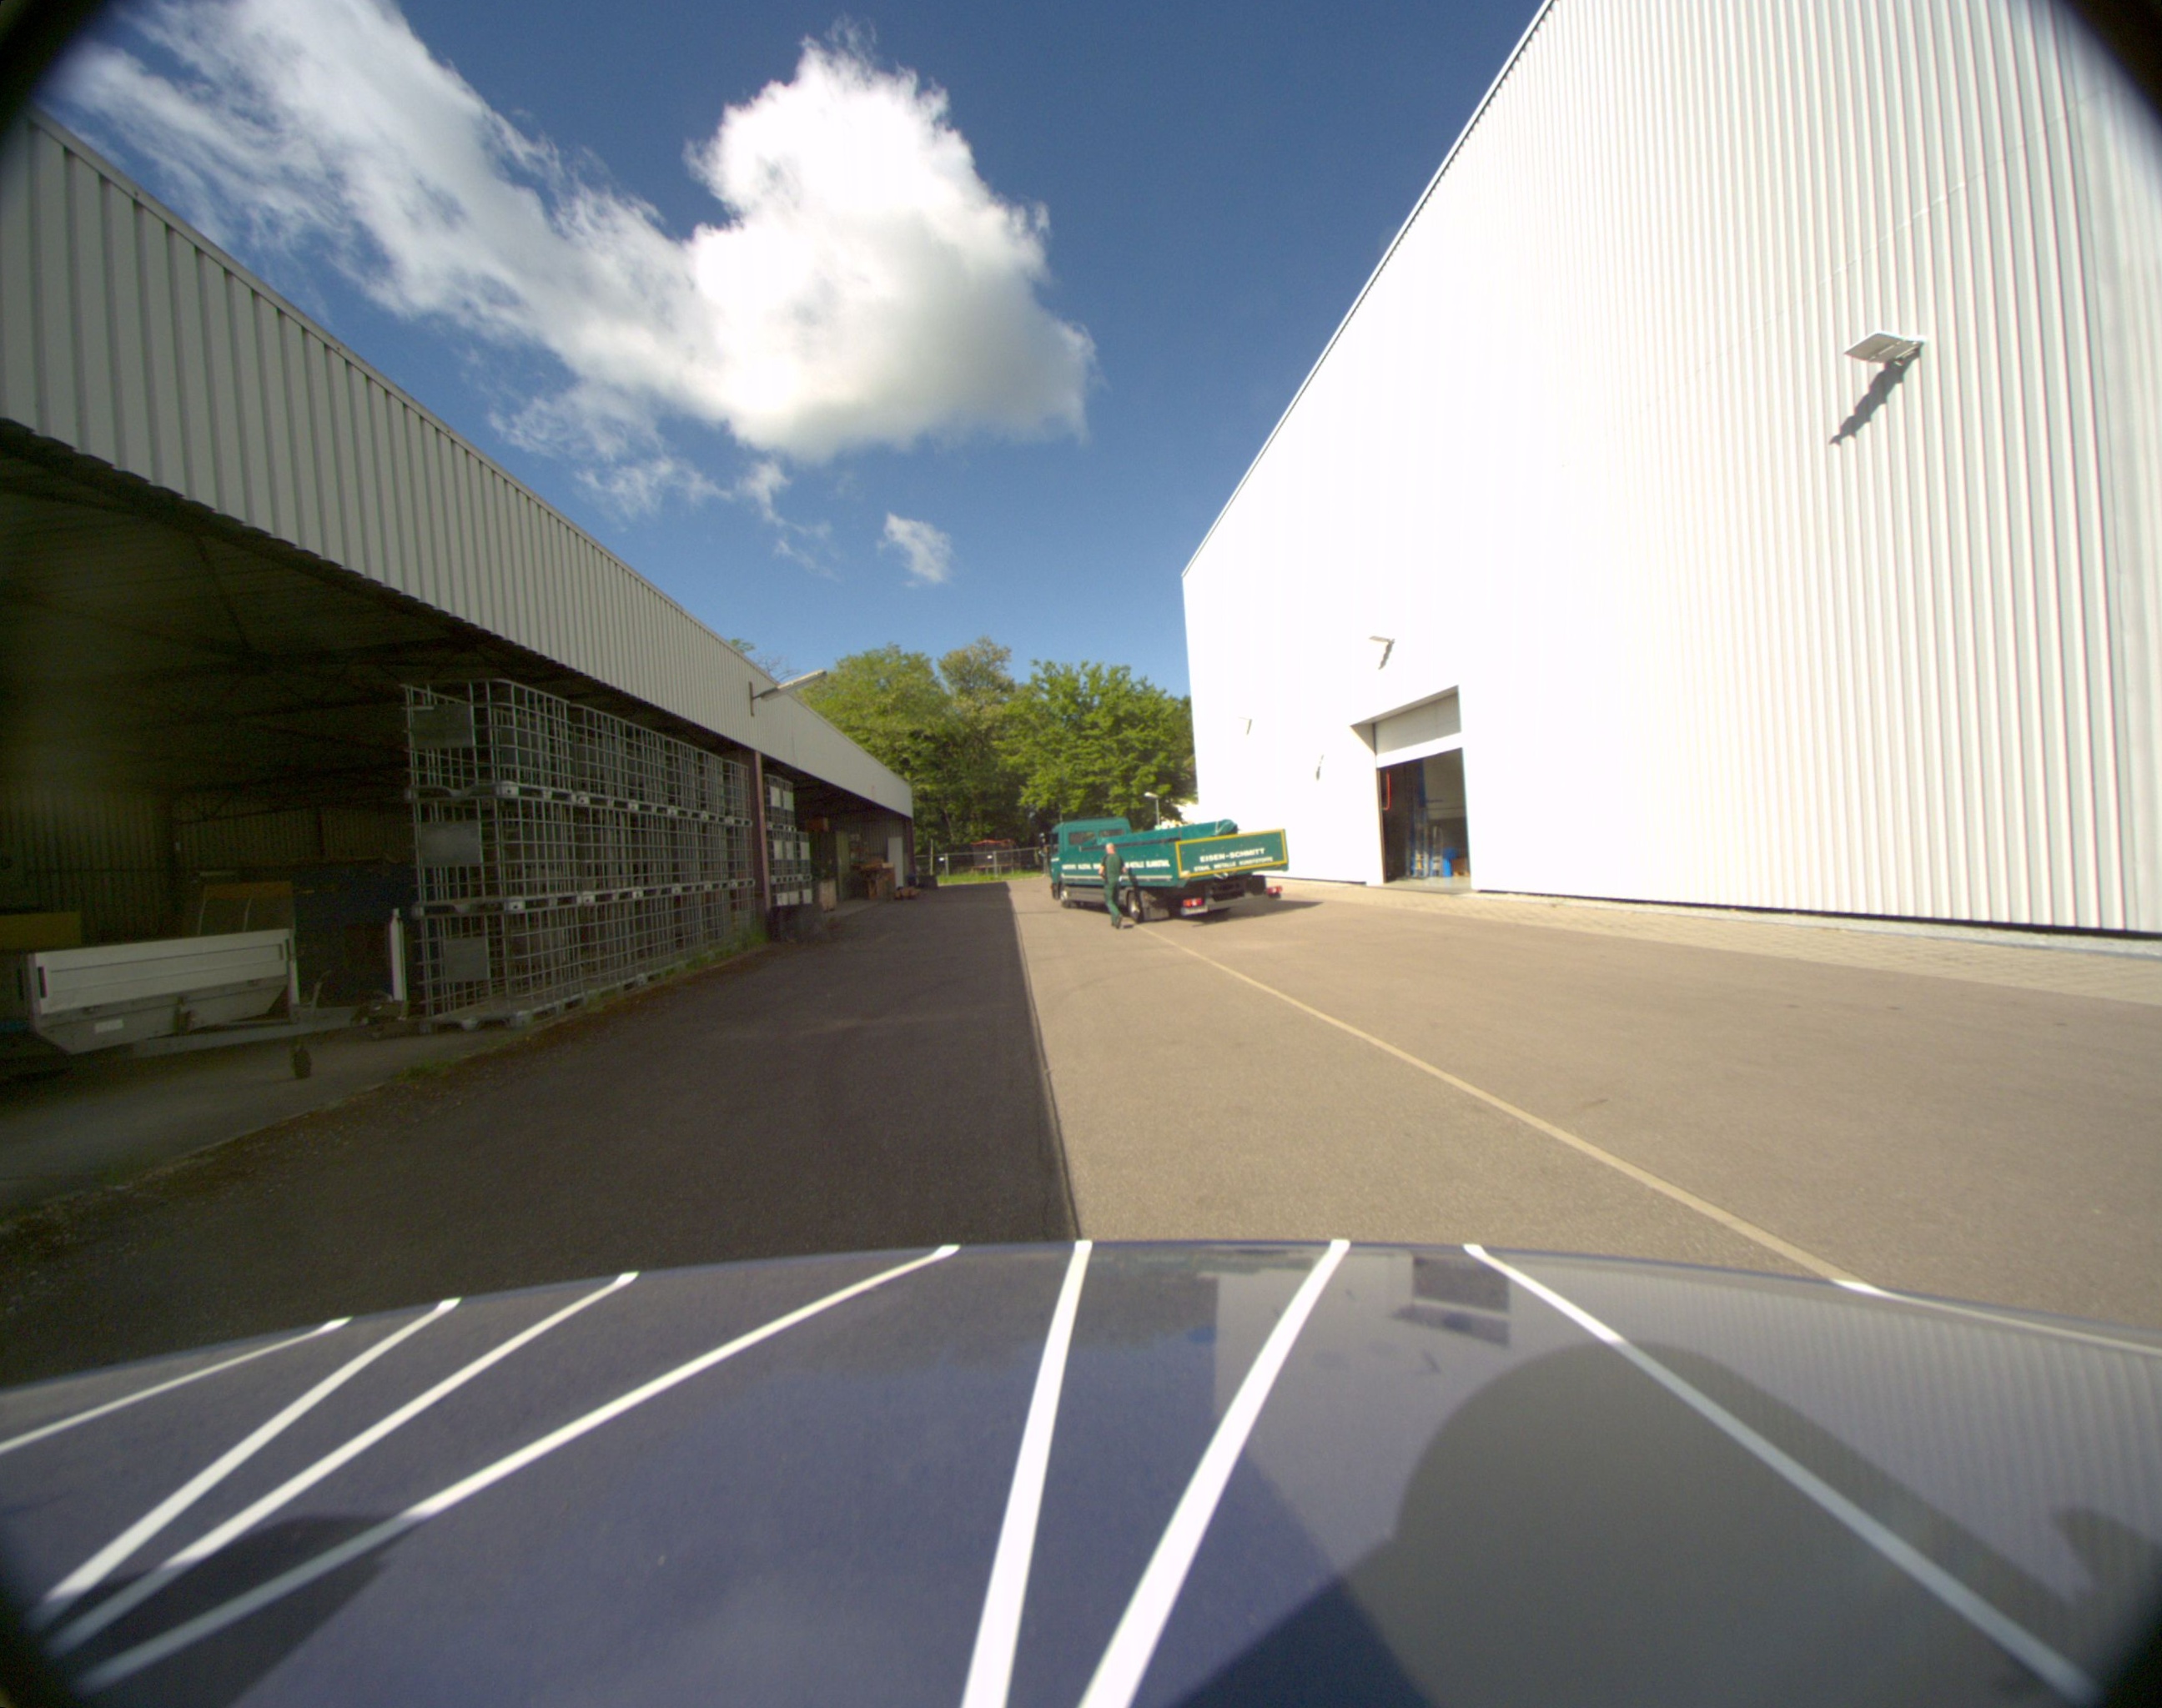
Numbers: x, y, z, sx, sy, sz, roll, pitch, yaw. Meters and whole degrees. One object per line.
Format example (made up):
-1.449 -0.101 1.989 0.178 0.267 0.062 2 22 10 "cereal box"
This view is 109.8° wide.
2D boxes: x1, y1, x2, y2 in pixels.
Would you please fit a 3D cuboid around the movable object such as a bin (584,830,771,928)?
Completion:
-12.375 0.739 23.603 4.629 2.706 1.999 -2 -1 -8 "movable object such as a bin"

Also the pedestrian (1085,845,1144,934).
0.690 0.718 16.005 0.895 1.792 1.038 -2 1 -18 "pedestrian"

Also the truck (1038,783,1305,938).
1.549 0.189 19.150 2.590 2.701 9.681 -7 1 -18 "truck"

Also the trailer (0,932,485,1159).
-8.235 1.433 5.618 5.752 1.126 2.007 -3 0 -7 "trailer"
